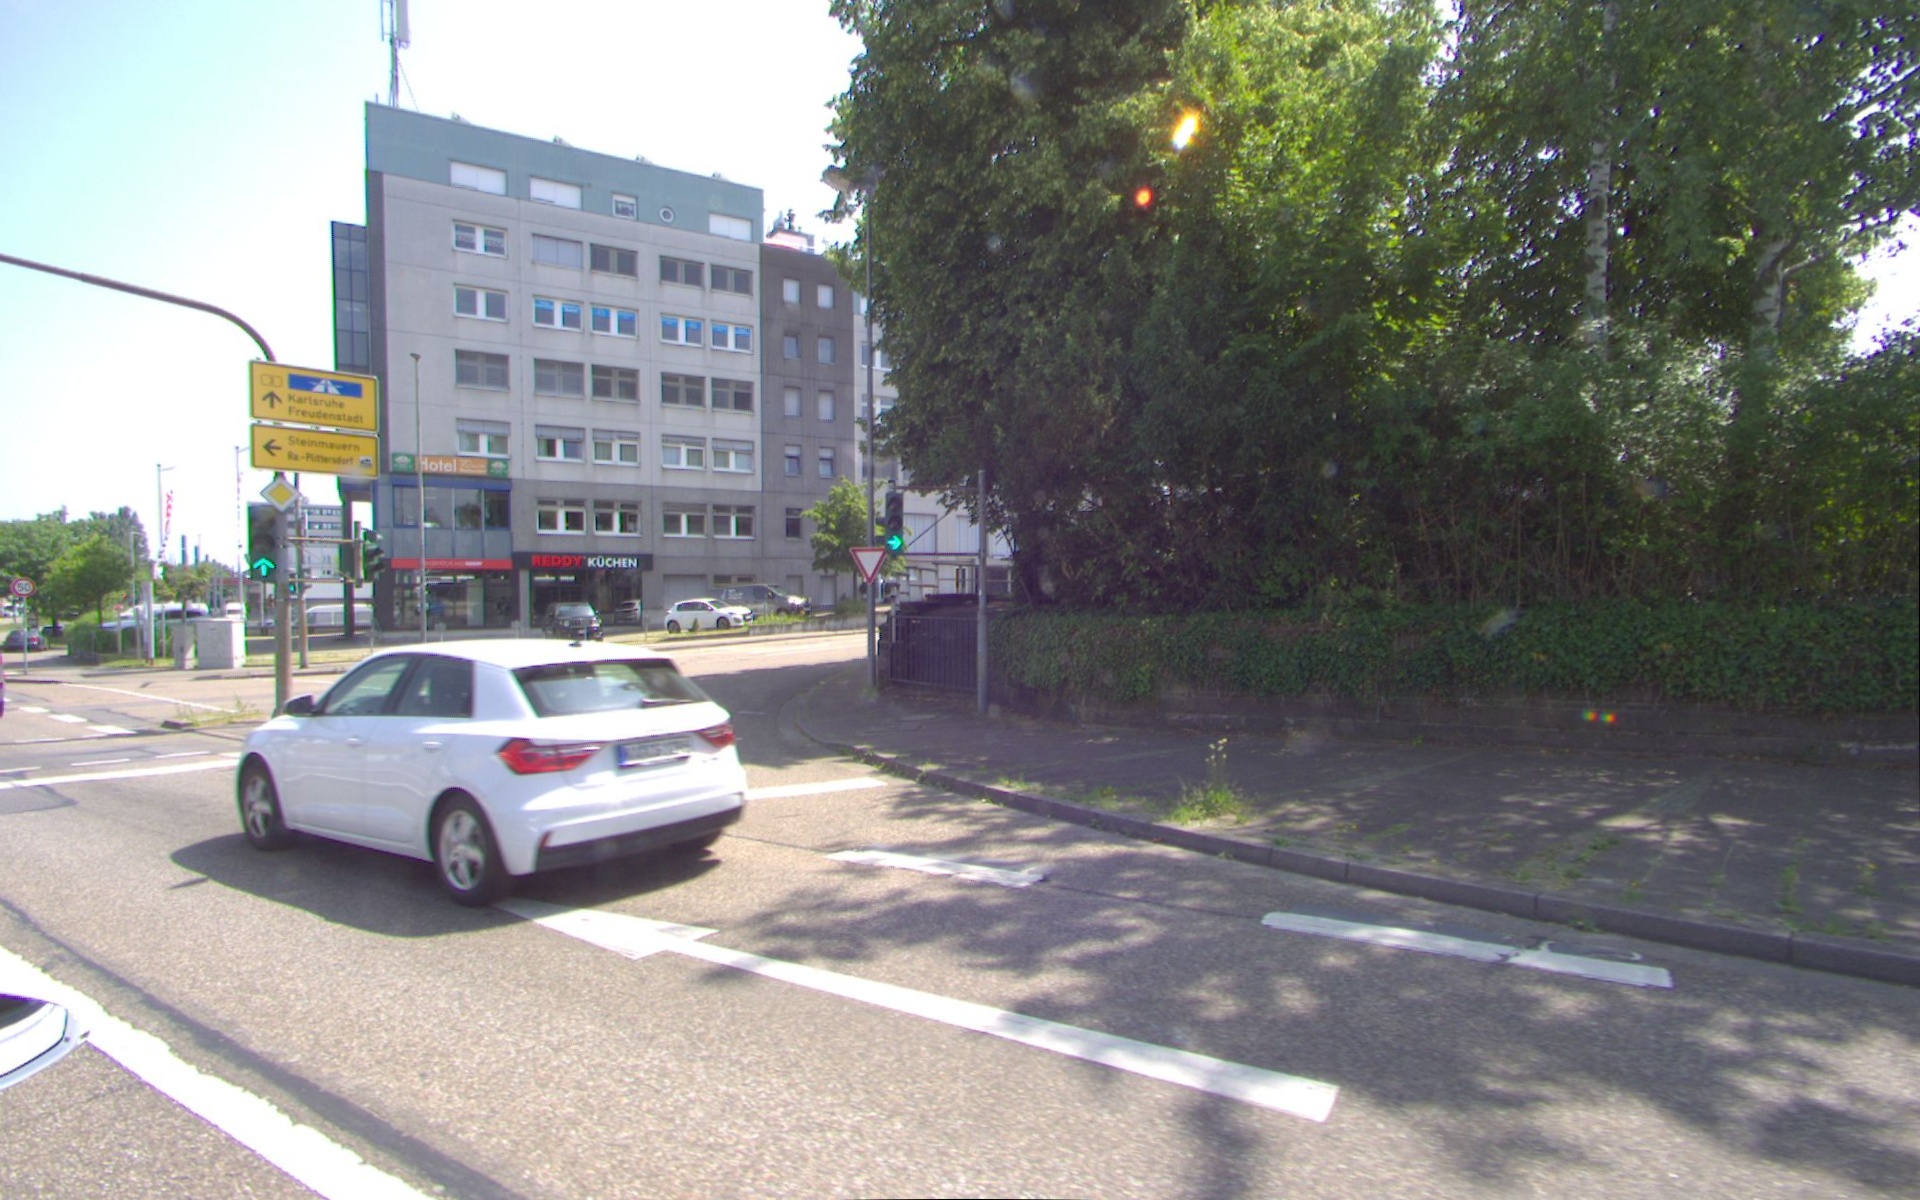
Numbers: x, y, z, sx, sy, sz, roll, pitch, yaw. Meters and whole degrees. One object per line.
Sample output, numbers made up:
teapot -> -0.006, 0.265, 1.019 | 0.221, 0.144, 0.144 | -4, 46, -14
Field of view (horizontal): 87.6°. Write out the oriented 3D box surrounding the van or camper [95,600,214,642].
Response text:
van or camper -> -59.565, 1.509, 74.268 | 6.733, 2.937, 2.259 | -1, 1, -36

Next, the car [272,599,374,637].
car -> -43.724, 1.276, 68.878 | 5.826, 2.560, 2.108 | 1, -2, -33

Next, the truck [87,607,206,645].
truck -> -57.090, 1.802, 70.489 | 6.182, 2.368, 2.352 | -2, 2, -34

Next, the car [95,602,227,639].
car -> -39.540, 1.032, 49.669 | 1.970, 1.735, 4.721 | -1, -2, 29

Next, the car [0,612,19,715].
car -> -18.211, 1.084, 17.605 | 3.922, 1.751, 1.789 | -1, -2, 37

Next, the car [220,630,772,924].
car -> -3.182, 0.919, 6.648 | 3.741, 1.417, 1.663 | -1, -1, 34

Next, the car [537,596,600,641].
car -> -15.735, 0.756, 40.138 | 1.523, 1.697, 4.303 | 0, -1, -33

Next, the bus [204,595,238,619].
bus -> -105.416, 0.929, 142.963 | 2.774, 3.120, 12.210 | 0, 1, -31

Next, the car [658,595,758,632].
car -> -11.287, 0.626, 44.973 | 4.148, 1.552, 1.543 | -1, -2, 15

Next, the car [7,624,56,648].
car -> -59.093, 2.279, 63.779 | 1.782, 1.424, 4.288 | 1, -2, -37

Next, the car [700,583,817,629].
car -> -9.476, 0.311, 47.216 | 5.097, 2.062, 1.890 | 0, -2, 16
